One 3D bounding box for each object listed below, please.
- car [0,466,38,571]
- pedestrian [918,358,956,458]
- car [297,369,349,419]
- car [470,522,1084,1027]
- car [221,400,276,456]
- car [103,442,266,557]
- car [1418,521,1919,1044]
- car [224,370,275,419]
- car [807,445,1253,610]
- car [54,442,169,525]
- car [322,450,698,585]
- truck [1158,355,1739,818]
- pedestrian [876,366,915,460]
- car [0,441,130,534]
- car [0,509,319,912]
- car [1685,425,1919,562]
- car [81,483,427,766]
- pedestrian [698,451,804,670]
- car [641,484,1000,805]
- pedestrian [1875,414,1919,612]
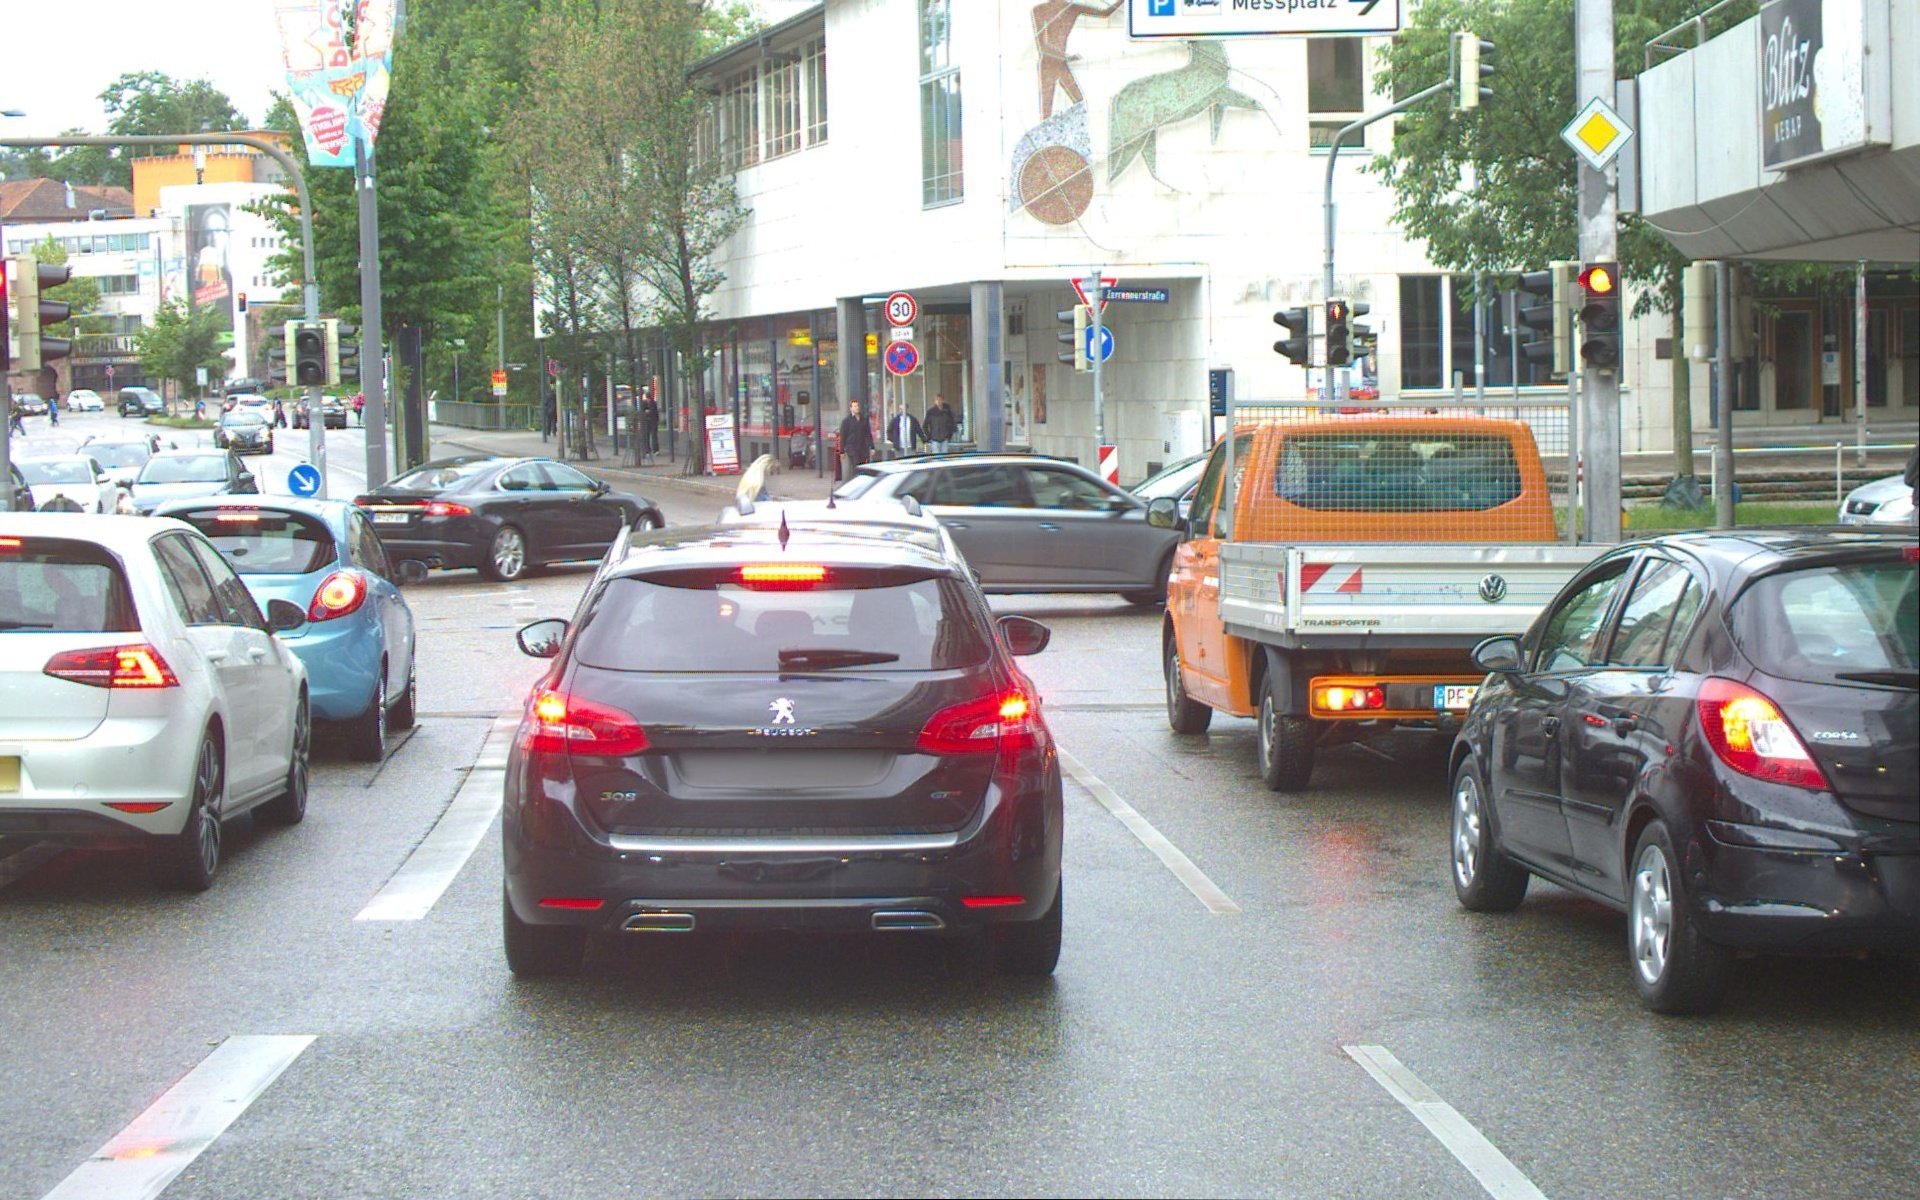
[{"bbox_3d":[-14.517,-1.196,49.784,1.574,1.481,3.610,0,2,-4],"label":"car"},{"bbox_3d":[-0.446,-3.703,66.309,0.637,1.891,0.733,1,0,6],"label":"pedestrian"},{"bbox_3d":[-27.693,-8.941,149.488,1.705,1.929,4.001,1,0,-18],"label":"car"},{"bbox_3d":[-0.626,0.470,11.966,1.777,1.424,3.843,1,2,-3],"label":"car"},{"bbox_3d":[-23.592,-5.695,114.112,1.744,1.634,4.001,1,0,-11],"label":"car"},{"bbox_3d":[-11.390,-1.453,50.735,1.744,1.574,4.001,1,0,-4],"label":"car"},{"bbox_3d":[2.745,0.477,11.604,1.616,1.424,3.843,0,2,-4],"label":"car"},{"bbox_3d":[-30.738,-8.878,148.702,1.705,1.875,4.001,1,0,-18],"label":"car"},{"bbox_3d":[0.644,-0.668,32.821,3.986,1.481,1.624,1,0,-12],"label":"car"},{"bbox_3d":[-15.758,-2.184,63.967,1.632,1.481,3.611,0,2,-7],"label":"car"},{"bbox_3d":[-5.292,-0.944,41.067,1.728,1.485,4.723,1,0,35],"label":"car"},{"bbox_3d":[2.449,-0.166,18.717,2.177,2.165,5.021,1,2,-3],"label":"truck"},{"bbox_3d":[-1.230,-3.580,65.829,0.637,1.752,0.733,1,0,6],"label":"pedestrian"},{"bbox_3d":[-14.849,-1.896,57.144,1.632,1.481,3.611,0,2,-7],"label":"car"},{"bbox_3d":[-3.831,0.353,14.388,1.777,1.424,3.843,1,2,-3],"label":"car"},{"bbox_3d":[10.499,-1.200,39.538,3.894,1.481,1.624,1,0,-13],"label":"car"},{"bbox_3d":[-4.089,0.075,20.364,1.632,1.481,3.610,0,2,-6],"label":"car"},{"bbox_3d":[-1.620,-0.306,26.713,0.748,1.674,0.709,1,0,2],"label":"pedestrian"},{"bbox_3d":[-0.701,0.150,18.278,1.696,1.481,3.794,1,2,-1],"label":"car"},{"bbox_3d":[8.101,-0.739,29.313,0.425,1.677,0.450,-2,0,-2],"label":"pedestrian"}]
